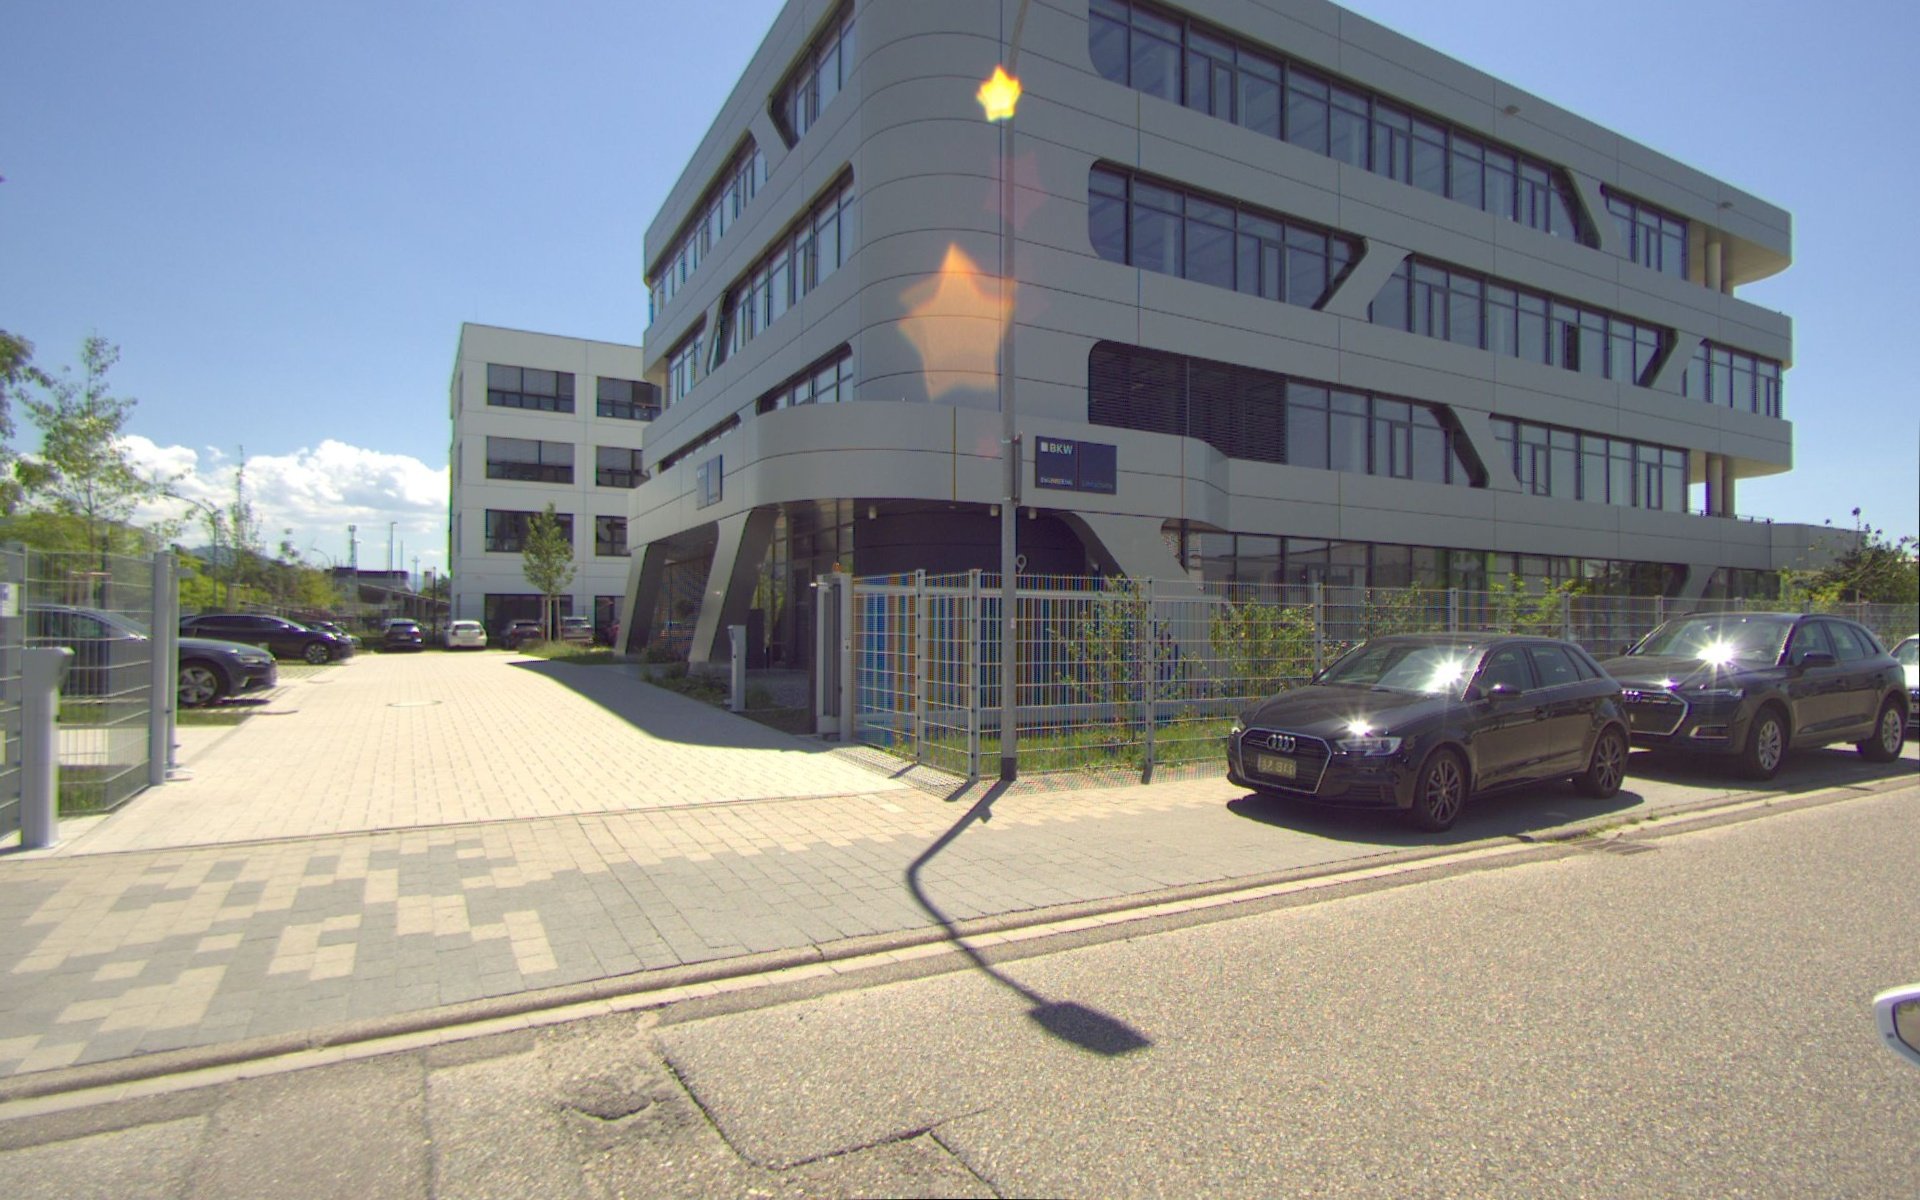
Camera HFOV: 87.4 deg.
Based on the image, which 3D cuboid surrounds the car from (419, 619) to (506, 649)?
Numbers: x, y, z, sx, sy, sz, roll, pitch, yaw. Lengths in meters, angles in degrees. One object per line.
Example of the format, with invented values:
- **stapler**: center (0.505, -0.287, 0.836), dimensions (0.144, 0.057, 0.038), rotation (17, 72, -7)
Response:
- **car**: center (-26.536, 1.777, 53.560), dimensions (4.057, 1.531, 1.762), rotation (1, -2, -31)

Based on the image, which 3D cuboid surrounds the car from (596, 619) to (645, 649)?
- **car**: center (-18.290, 1.801, 54.026), dimensions (1.756, 1.531, 4.073), rotation (0, -2, -30)

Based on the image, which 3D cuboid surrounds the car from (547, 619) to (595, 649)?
- **car**: center (-20.501, 1.775, 52.796), dimensions (1.756, 1.531, 4.073), rotation (0, -2, -30)

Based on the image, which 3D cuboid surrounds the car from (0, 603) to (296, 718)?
- **car**: center (-12.277, 0.846, 14.785), dimensions (4.057, 1.531, 1.762), rotation (1, -2, -31)

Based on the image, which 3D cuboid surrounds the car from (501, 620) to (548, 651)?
- **car**: center (-22.396, 1.806, 51.545), dimensions (1.756, 1.531, 4.073), rotation (0, -2, -30)

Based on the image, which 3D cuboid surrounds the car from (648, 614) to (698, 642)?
- **car**: center (-15.938, 1.551, 55.686), dimensions (1.756, 1.531, 4.073), rotation (0, -2, -30)

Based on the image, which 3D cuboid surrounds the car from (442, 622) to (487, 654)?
- **car**: center (-24.830, 1.870, 50.309), dimensions (1.756, 1.531, 4.073), rotation (0, -2, -30)

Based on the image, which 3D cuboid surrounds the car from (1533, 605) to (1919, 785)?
- **car**: center (8.820, 0.919, 11.398), dimensions (4.790, 1.673, 1.763), rotation (0, -1, -28)

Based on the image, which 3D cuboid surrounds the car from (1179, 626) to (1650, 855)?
- **car**: center (4.040, 1.012, 8.747), dimensions (4.139, 1.486, 1.760), rotation (0, -1, -32)

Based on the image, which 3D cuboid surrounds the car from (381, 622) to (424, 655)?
- **car**: center (-27.069, 1.853, 48.742), dimensions (1.756, 1.531, 4.073), rotation (0, -2, -30)

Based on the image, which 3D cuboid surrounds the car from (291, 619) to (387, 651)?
- **car**: center (-31.232, 1.751, 50.684), dimensions (4.057, 1.531, 1.762), rotation (1, -2, -31)

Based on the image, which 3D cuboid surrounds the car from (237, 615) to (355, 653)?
- **car**: center (-28.301, 1.430, 42.966), dimensions (4.057, 1.531, 1.762), rotation (1, -2, -31)

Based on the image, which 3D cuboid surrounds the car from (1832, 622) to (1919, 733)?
- **car**: center (14.209, 1.049, 14.305), dimensions (3.894, 1.404, 1.690), rotation (0, -1, -33)

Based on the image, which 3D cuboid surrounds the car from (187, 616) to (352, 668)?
- **car**: center (-21.318, 1.267, 31.232), dimensions (4.057, 1.531, 1.762), rotation (1, -2, -31)
